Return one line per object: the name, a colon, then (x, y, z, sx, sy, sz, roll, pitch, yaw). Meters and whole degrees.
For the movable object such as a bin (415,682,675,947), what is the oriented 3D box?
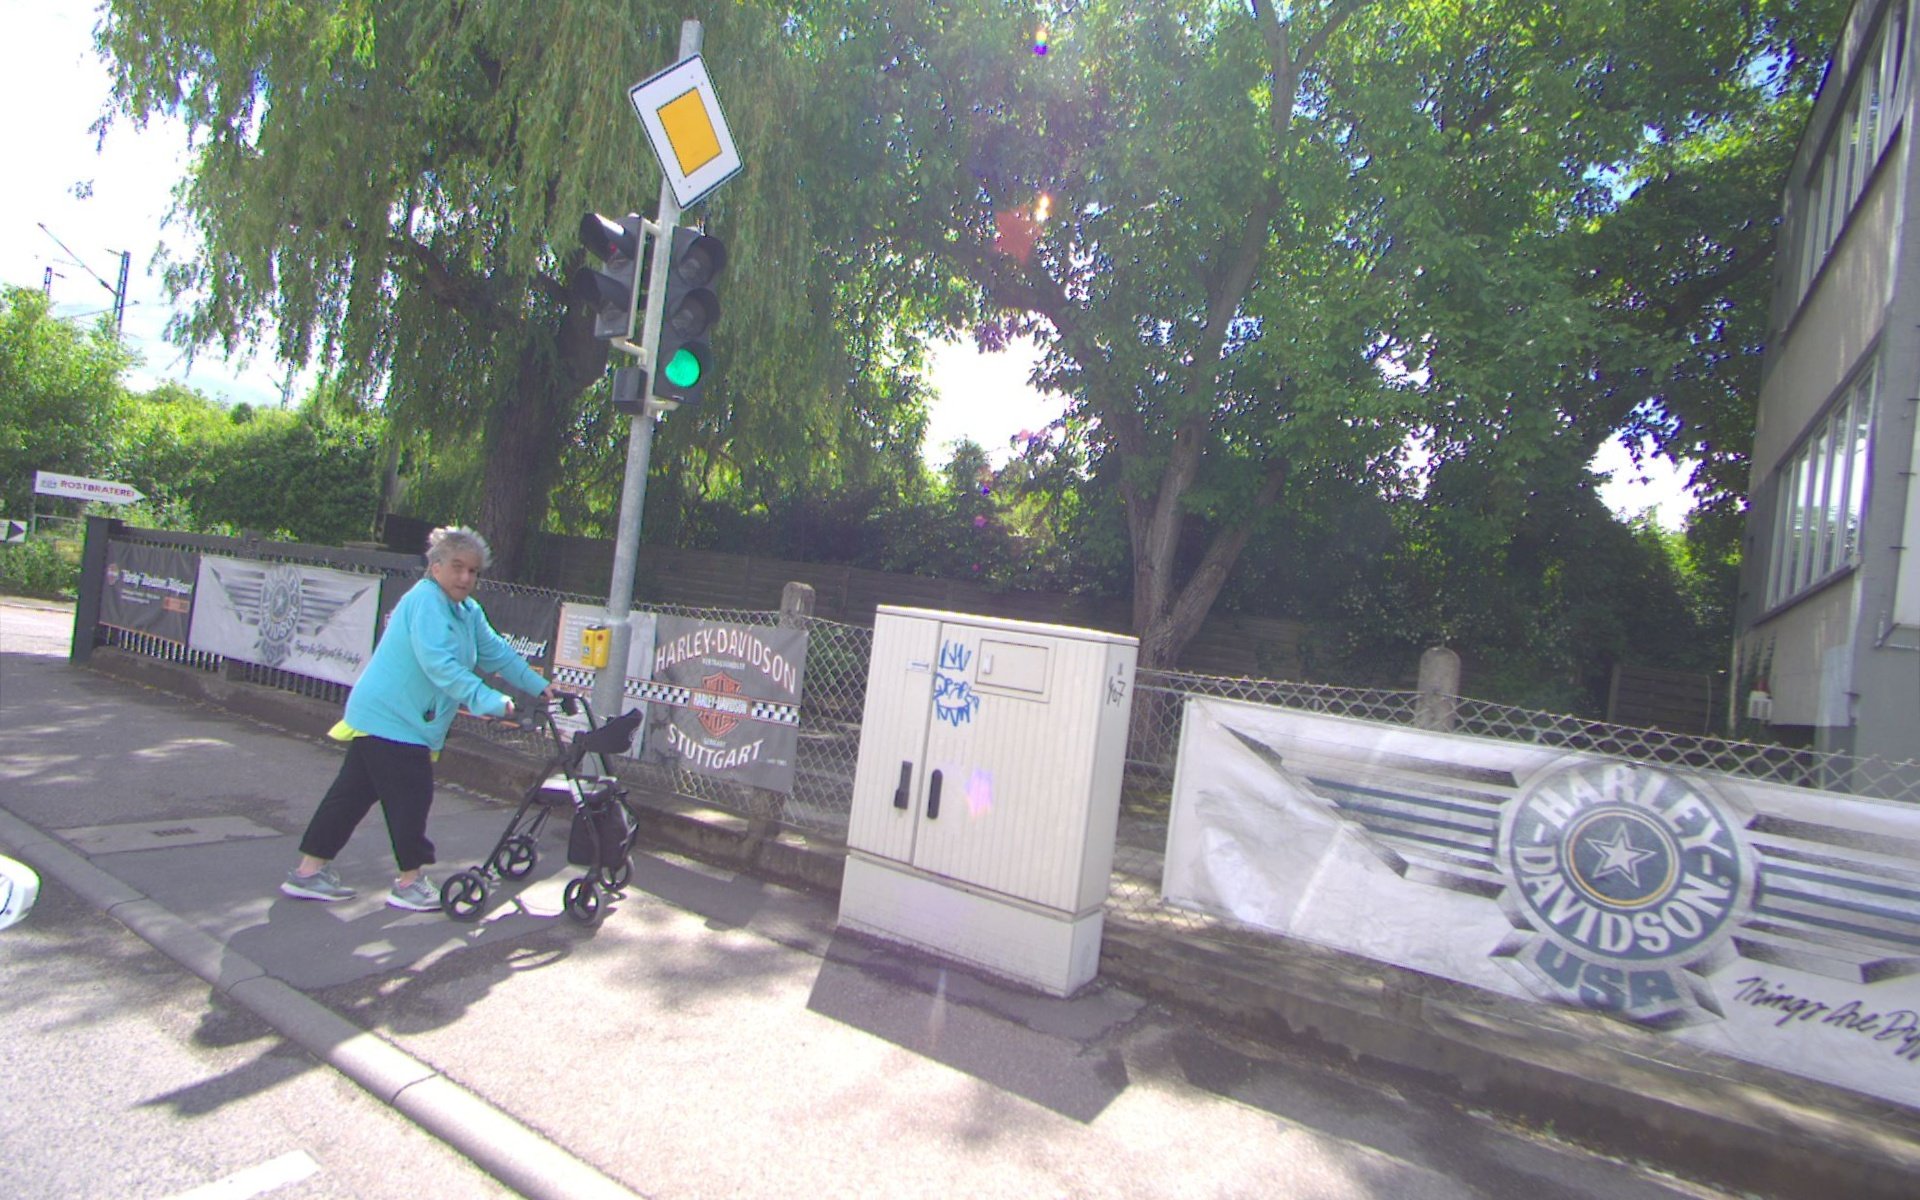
movable object such as a bin: (-1.673, 0.851, 4.167, 0.735, 0.882, 0.670, 7, 0, -5)

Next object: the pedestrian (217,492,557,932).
pedestrian: (-2.289, 0.432, 4.134, 0.826, 1.562, 0.733, 7, 0, -4)
